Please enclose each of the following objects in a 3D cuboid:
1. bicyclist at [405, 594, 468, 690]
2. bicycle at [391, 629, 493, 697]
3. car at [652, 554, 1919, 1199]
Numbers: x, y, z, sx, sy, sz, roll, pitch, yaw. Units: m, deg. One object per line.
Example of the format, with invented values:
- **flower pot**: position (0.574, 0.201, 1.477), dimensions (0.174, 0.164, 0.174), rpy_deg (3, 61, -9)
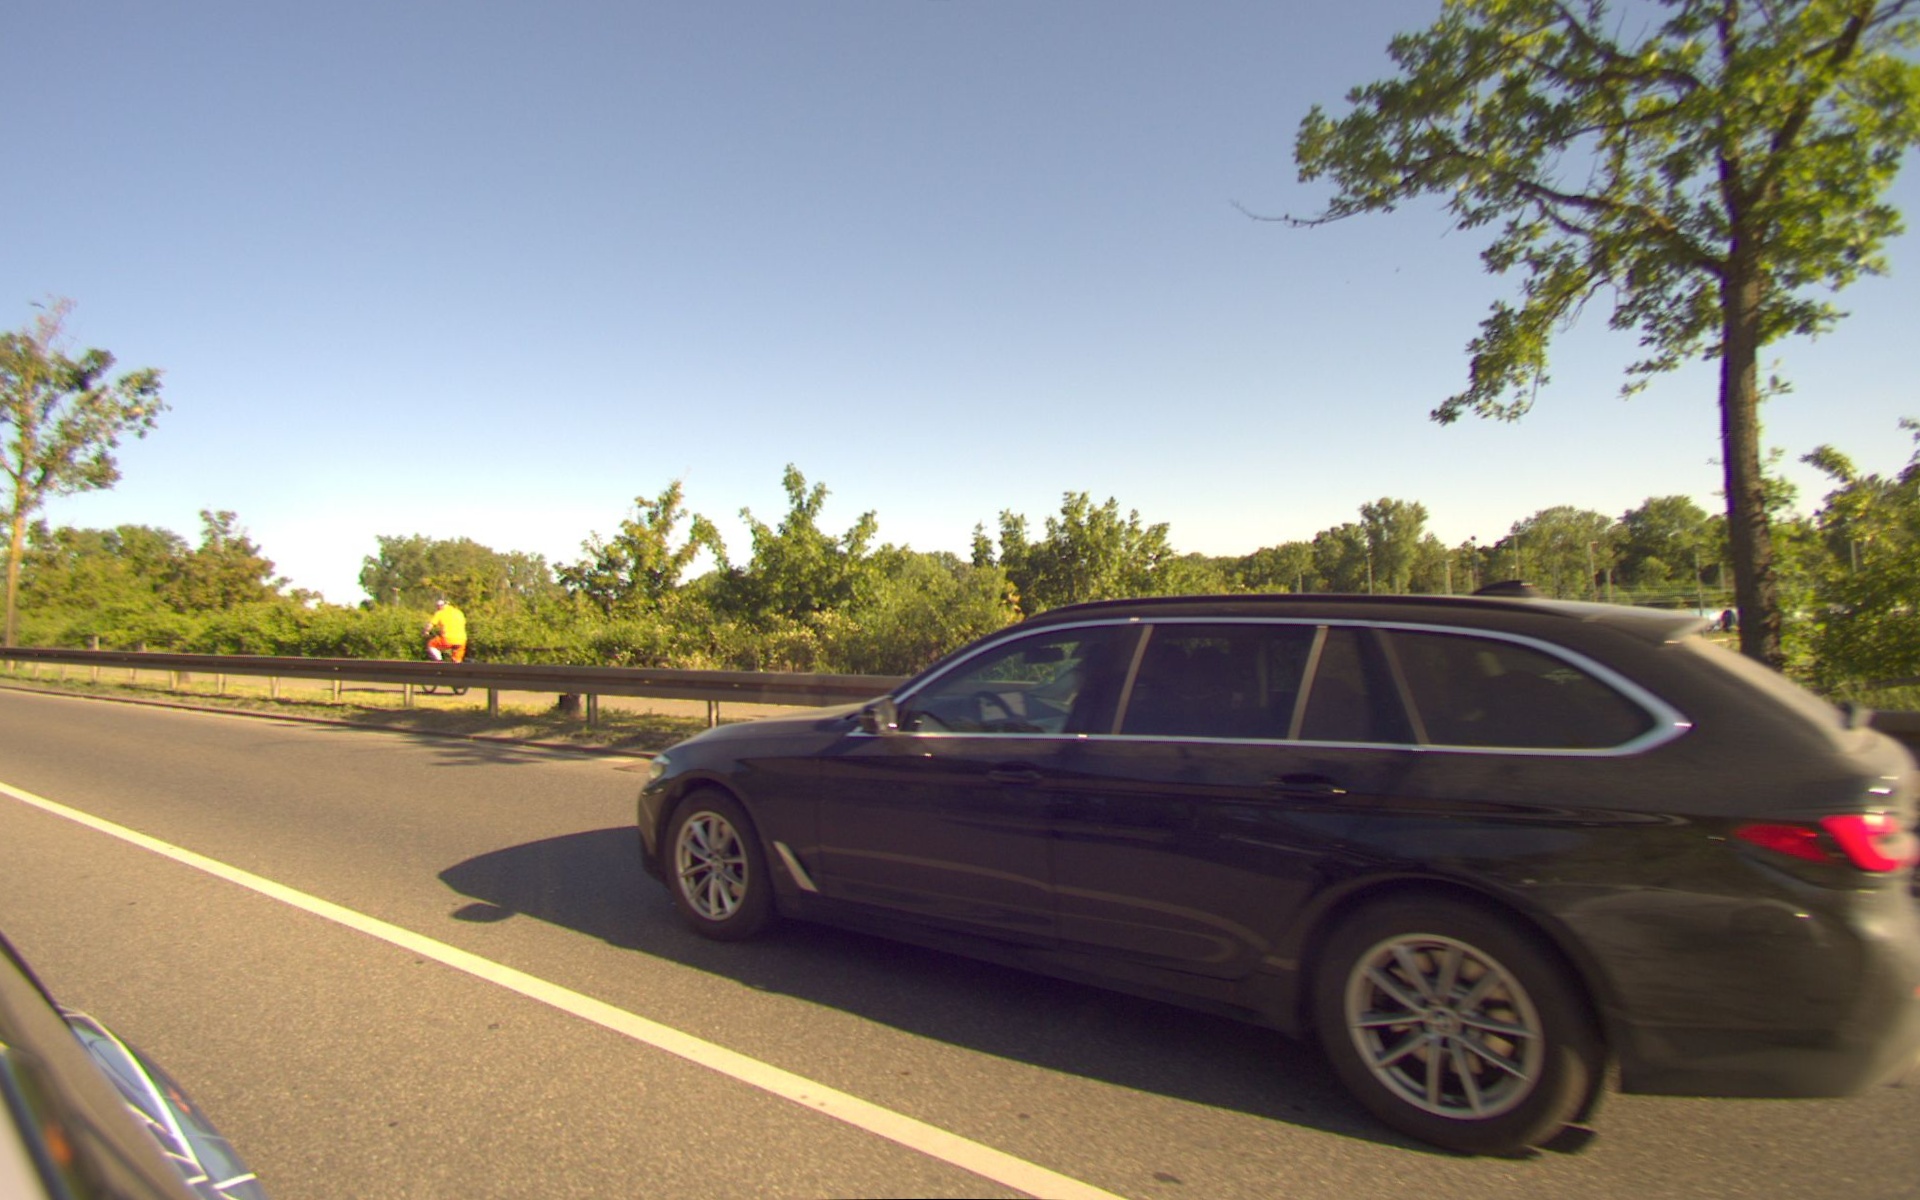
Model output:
- **bicyclist**: position (-9.171, 0.731, 17.730), dimensions (0.872, 1.636, 0.646), rpy_deg (-1, -2, 34)
- **bicycle**: position (-9.039, 1.070, 17.624), dimensions (2.103, 1.103, 0.655), rpy_deg (-1, -2, 35)
- **car**: position (0.904, 0.706, 3.915), dimensions (4.361, 1.508, 1.793), rpy_deg (-1, -2, 37)
